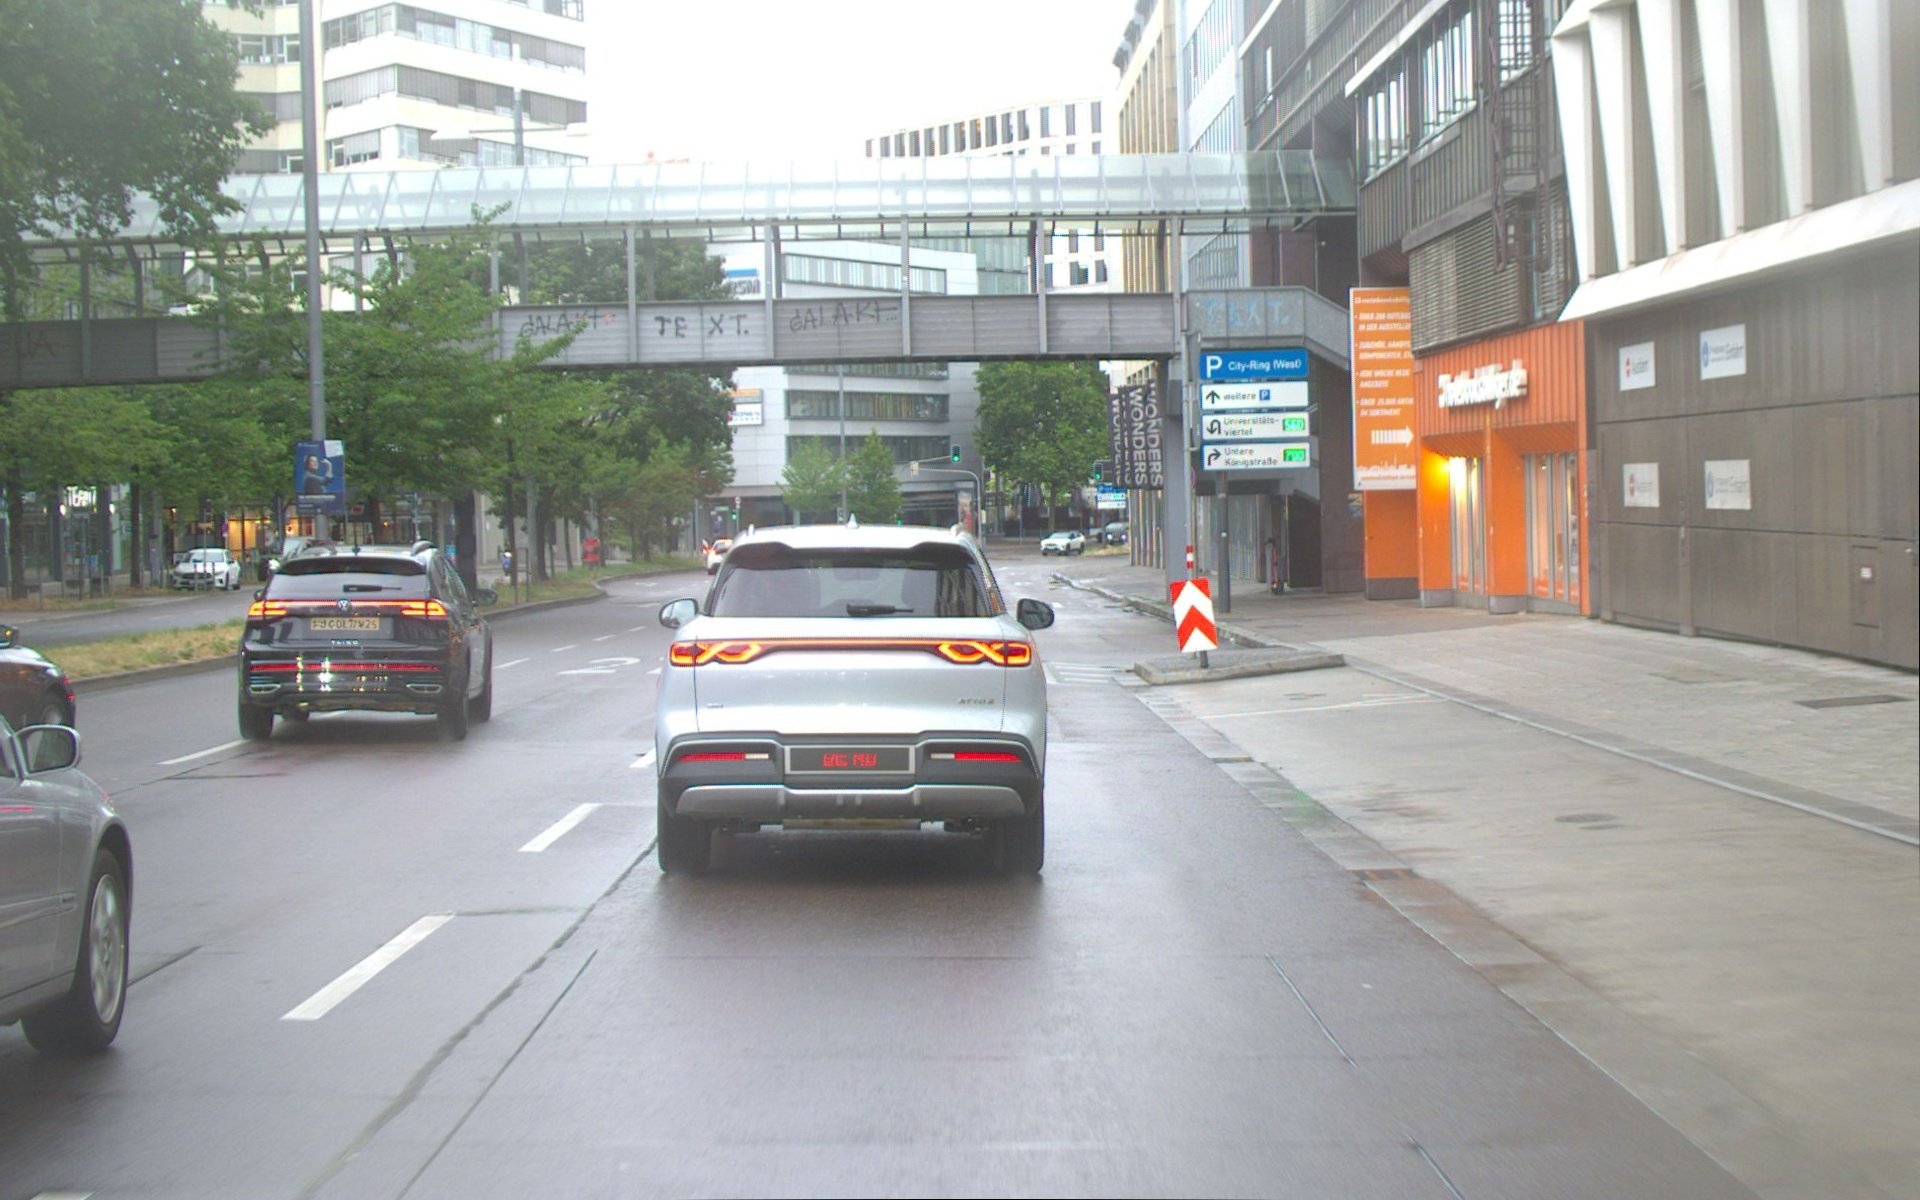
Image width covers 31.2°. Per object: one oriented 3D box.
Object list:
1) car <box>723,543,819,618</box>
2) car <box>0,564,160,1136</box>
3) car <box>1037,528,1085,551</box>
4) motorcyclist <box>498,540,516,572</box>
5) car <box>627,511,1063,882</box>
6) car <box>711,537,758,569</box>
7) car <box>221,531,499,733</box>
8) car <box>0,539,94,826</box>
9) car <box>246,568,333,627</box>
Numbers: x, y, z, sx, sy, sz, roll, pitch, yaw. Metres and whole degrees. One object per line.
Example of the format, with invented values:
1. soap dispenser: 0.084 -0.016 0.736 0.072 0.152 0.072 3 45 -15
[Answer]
1. car: -4.111 -0.446 75.249 1.812 1.573 4.000 -1 1 1
2. car: -3.309 0.647 8.540 1.672 1.474 4.360 0 0 -1
3. car: 7.021 -4.214 238.935 1.583 1.533 3.993 0 1 30
4. motorcyclist: -20.438 -1.988 155.014 0.638 1.413 0.970 -1 0 0
5. car: -0.529 0.401 17.169 1.901 1.616 4.000 1 1 -1
6. car: -9.570 -1.998 145.962 1.653 1.337 4.000 -1 1 1
7. car: -4.718 0.225 27.514 1.774 1.452 4.001 -1 0 -4
8. car: -5.891 0.463 17.059 1.872 1.474 4.878 -2 1 1
9. car: -18.170 -0.092 93.278 1.661 1.459 4.081 -3 1 -2
